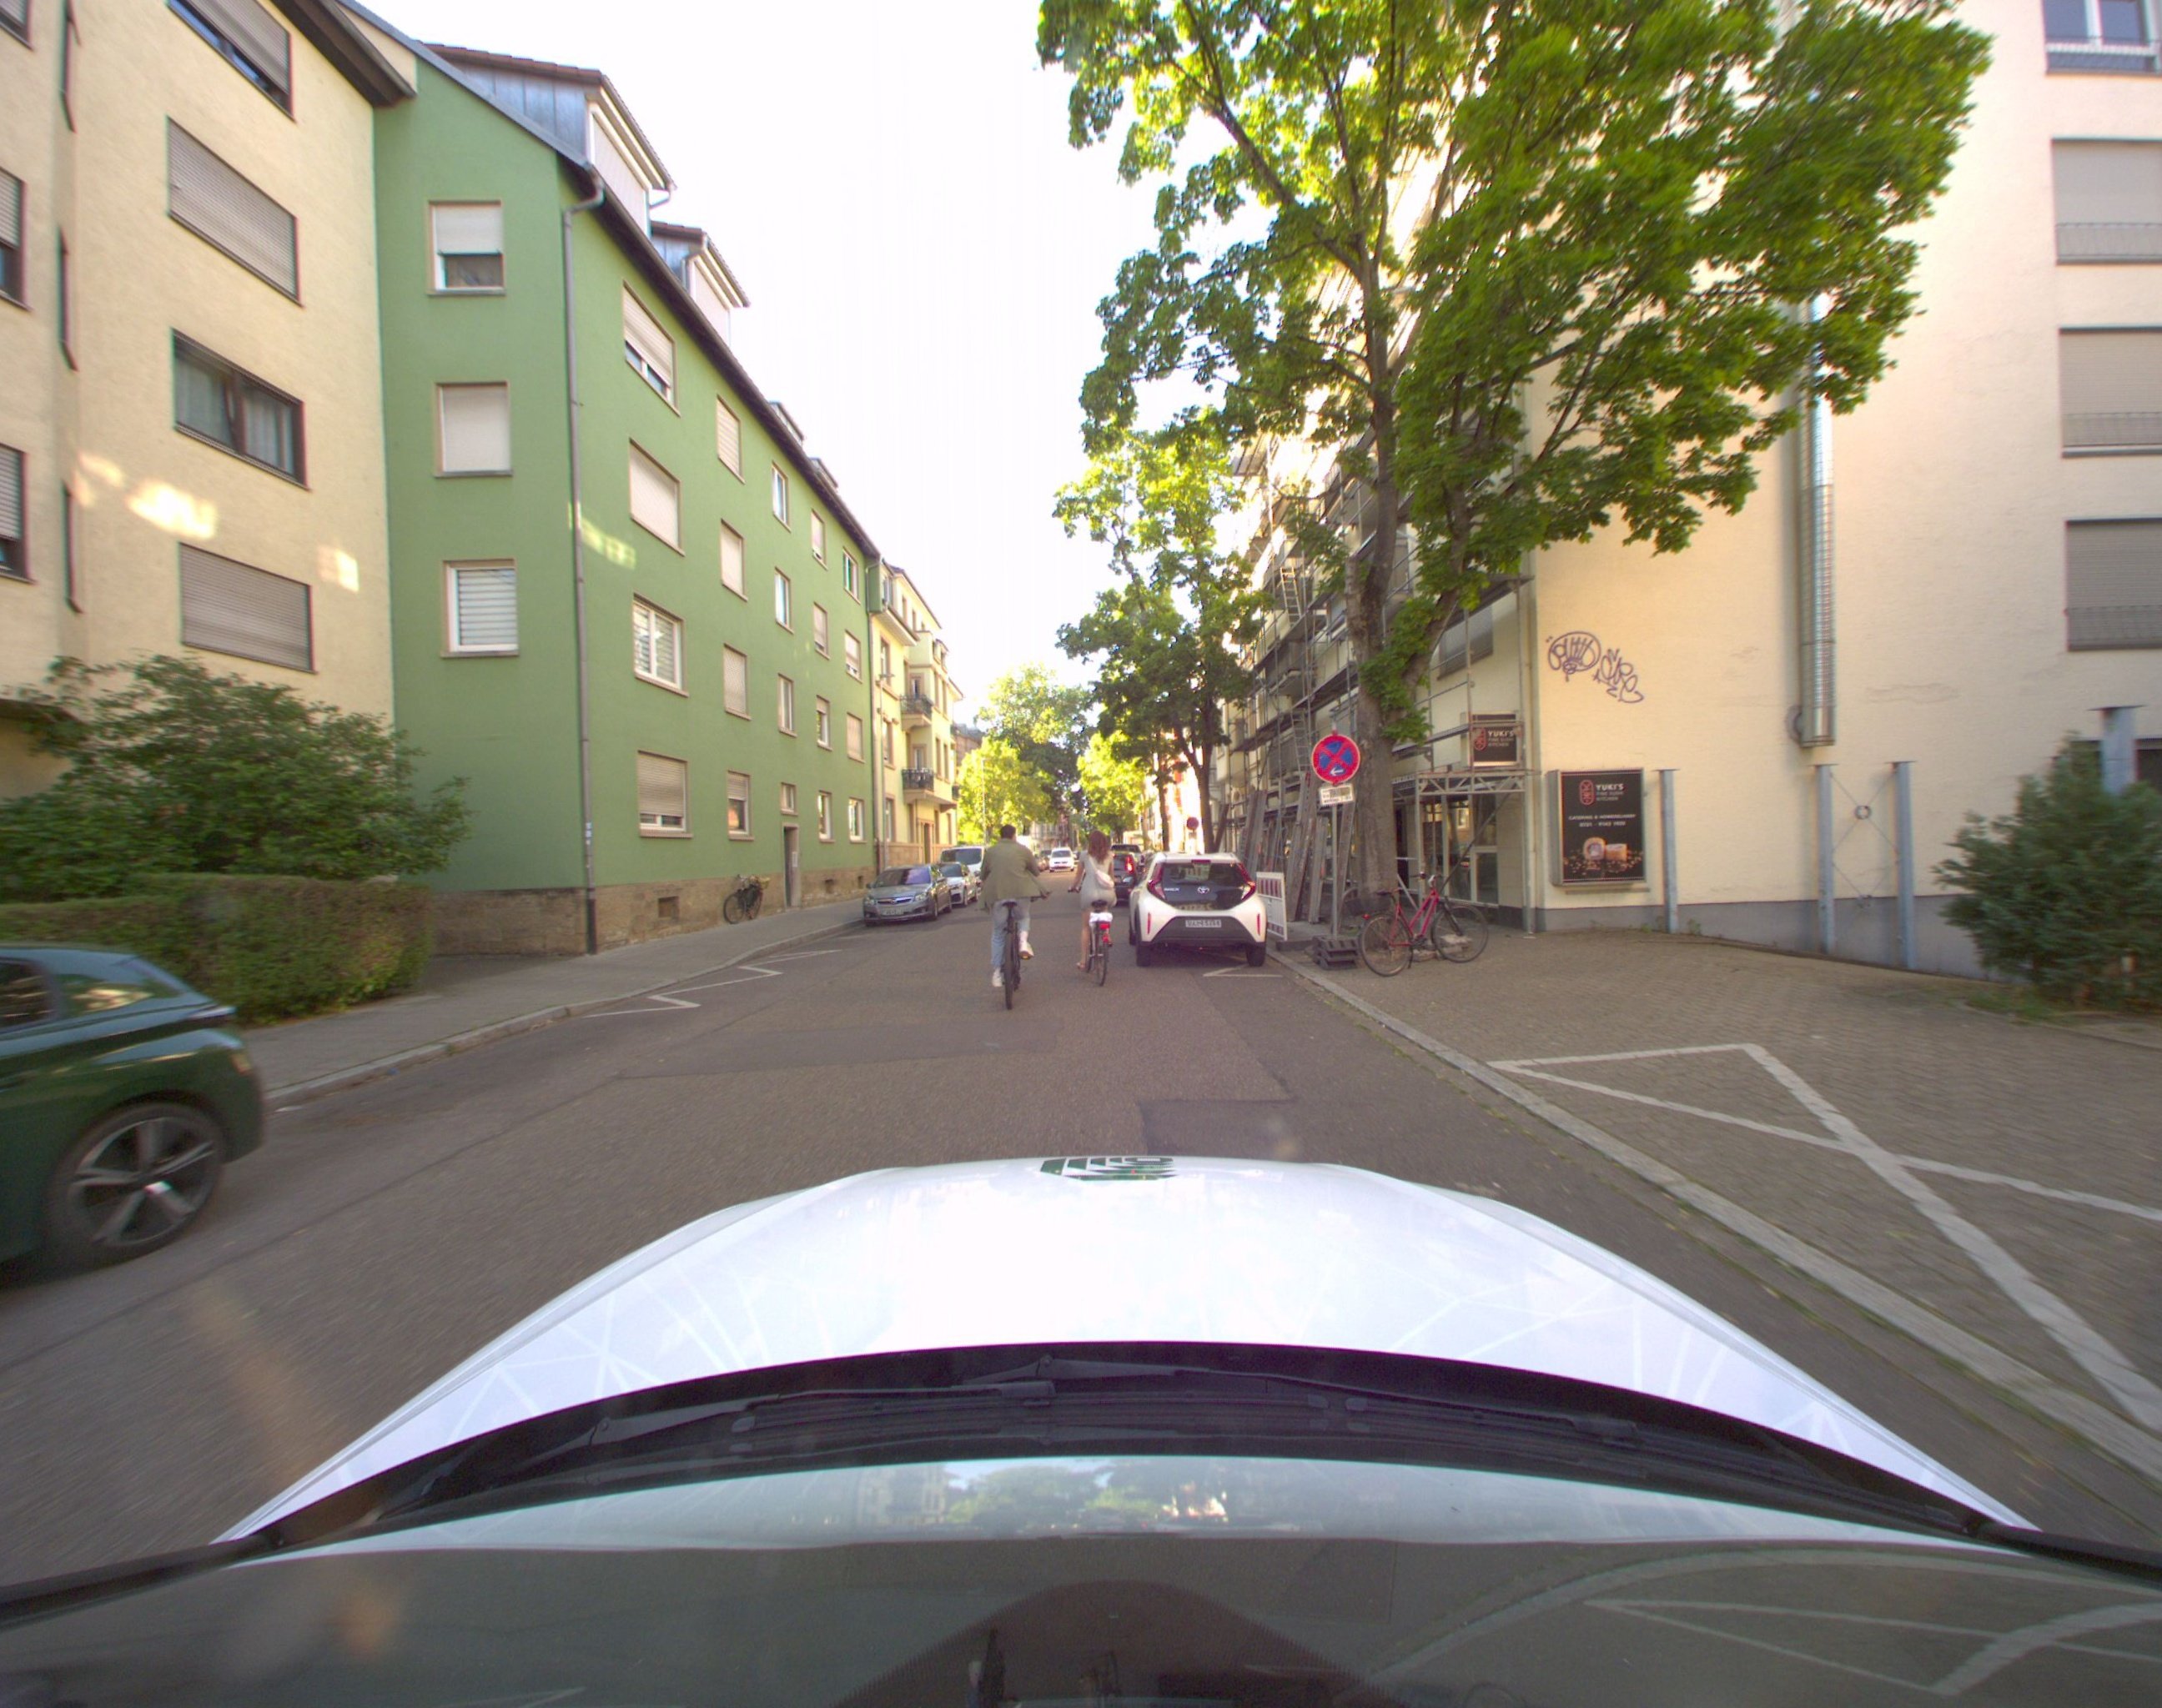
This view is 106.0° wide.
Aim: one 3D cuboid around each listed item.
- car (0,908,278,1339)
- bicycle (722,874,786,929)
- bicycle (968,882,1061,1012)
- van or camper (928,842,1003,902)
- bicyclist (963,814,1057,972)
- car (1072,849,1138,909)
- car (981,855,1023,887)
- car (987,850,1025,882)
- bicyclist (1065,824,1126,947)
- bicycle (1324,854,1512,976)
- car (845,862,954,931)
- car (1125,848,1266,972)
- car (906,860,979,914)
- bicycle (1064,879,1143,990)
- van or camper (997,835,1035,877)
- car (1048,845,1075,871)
[{"bbox_3d":[-4.836,1.083,1.885,1.747,1.497,4.134,-5,0,0],"label":"car"},{"bbox_3d":[-7.836,1.101,19.616,0.548,1.178,2.279,0,0,2],"label":"bicycle"},{"bbox_3d":[-0.699,0.923,8.874,0.837,1.149,2.229,-3,-1,-4],"label":"bicycle"},{"bbox_3d":[-4.383,0.632,31.679,1.986,2.013,4.913,-3,0,1],"label":"van or camper"},{"bbox_3d":[-0.738,0.410,8.715,0.879,1.562,0.867,-3,-3,-3],"label":"bicyclist"},{"bbox_3d":[0.756,0.656,23.522,1.548,1.533,3.493,-3,0,7],"label":"car"},{"bbox_3d":[-4.133,0.853,43.113,1.705,1.504,4.000,-3,0,1],"label":"car"},{"bbox_3d":[-4.346,0.675,47.809,1.705,1.699,4.000,-3,0,1],"label":"car"},{"bbox_3d":[0.171,0.391,9.847,0.621,1.381,0.868,-3,-4,0],"label":"bicyclist"},{"bbox_3d":[3.988,0.679,9.638,1.985,1.165,0.722,-5,1,-17],"label":"bicycle"},{"bbox_3d":[-4.560,1.017,21.116,1.974,1.455,4.110,-3,0,-2],"label":"car"},{"bbox_3d":[1.545,0.701,12.049,1.669,1.545,3.404,-1,0,1],"label":"car"},{"bbox_3d":[-4.372,1.004,26.231,1.681,1.453,3.709,-3,0,-1],"label":"car"},{"bbox_3d":[0.224,0.923,10.086,0.837,1.149,2.231,-1,0,-2],"label":"bicycle"},{"bbox_3d":[-4.249,0.128,53.751,1.987,2.553,5.022,-3,0,0],"label":"van or camper"},{"bbox_3d":[-1.421,0.299,61.029,1.775,1.861,4.201,-2,0,2],"label":"car"}]
